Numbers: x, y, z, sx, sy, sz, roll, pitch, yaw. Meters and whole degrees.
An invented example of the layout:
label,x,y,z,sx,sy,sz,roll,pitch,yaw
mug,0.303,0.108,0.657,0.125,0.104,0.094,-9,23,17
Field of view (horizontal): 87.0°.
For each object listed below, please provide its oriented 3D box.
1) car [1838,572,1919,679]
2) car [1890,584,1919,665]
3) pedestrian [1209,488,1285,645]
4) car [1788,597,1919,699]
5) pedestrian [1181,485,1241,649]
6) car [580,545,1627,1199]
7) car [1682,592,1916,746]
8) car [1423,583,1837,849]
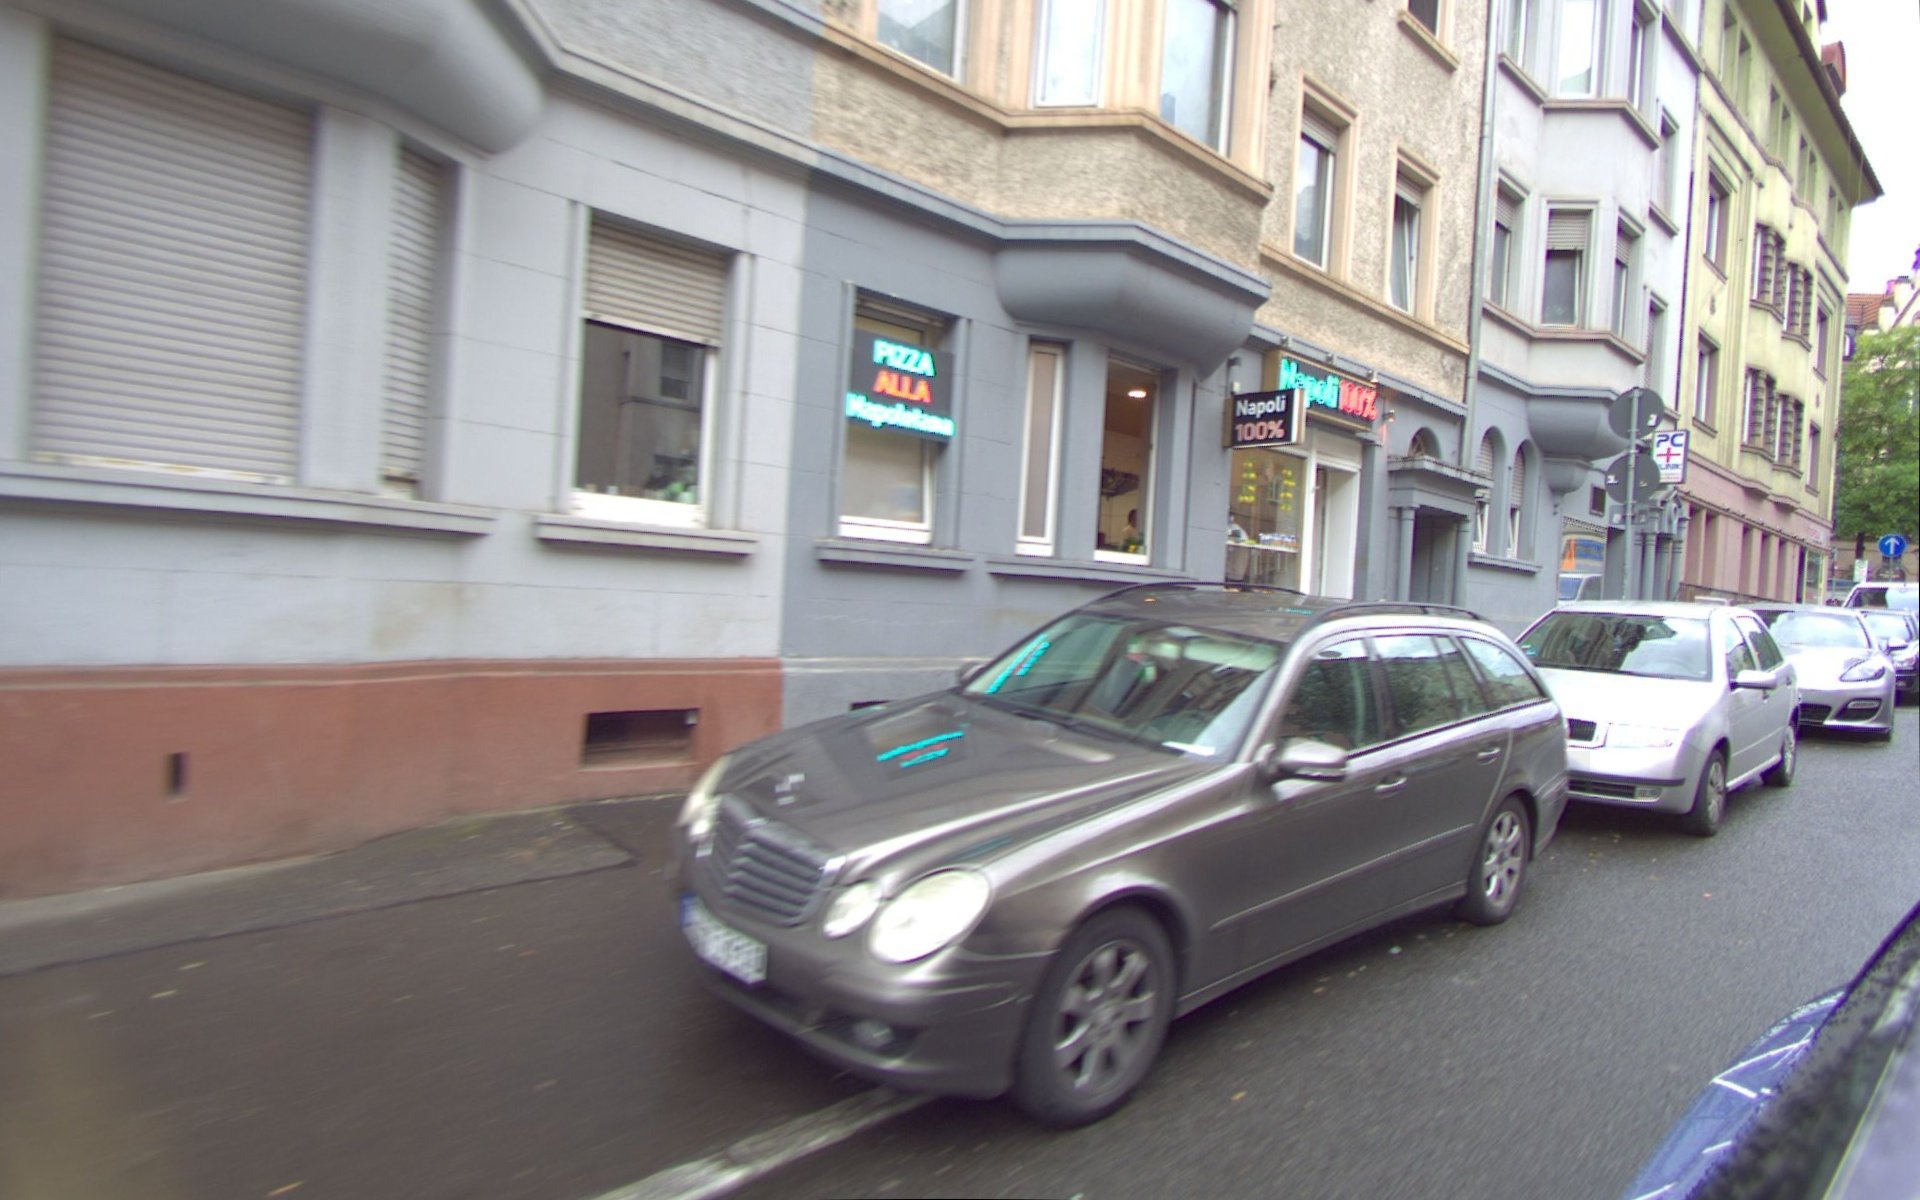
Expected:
label,x,y,z,sx,sy,sz,roll,pitch,yaw
car,18.815,0.460,19.650,4.921,1.849,1.924,0,3,-41
car,23.079,0.582,23.292,4.595,1.752,1.883,0,3,-41
pedestrian,3.107,-0.363,10.985,0.613,1.639,0.417,2,2,-4
car,14.676,0.676,16.051,4.201,1.392,1.680,0,1,-41
pedestrian,2.614,-0.347,10.516,0.479,1.639,0.663,3,2,19
car,1.023,0.634,4.521,4.713,1.495,1.905,0,5,-40
car,10.305,0.658,12.330,1.875,1.485,4.701,1,1,43
car,5.211,0.651,7.662,3.945,1.493,1.614,0,1,-41
